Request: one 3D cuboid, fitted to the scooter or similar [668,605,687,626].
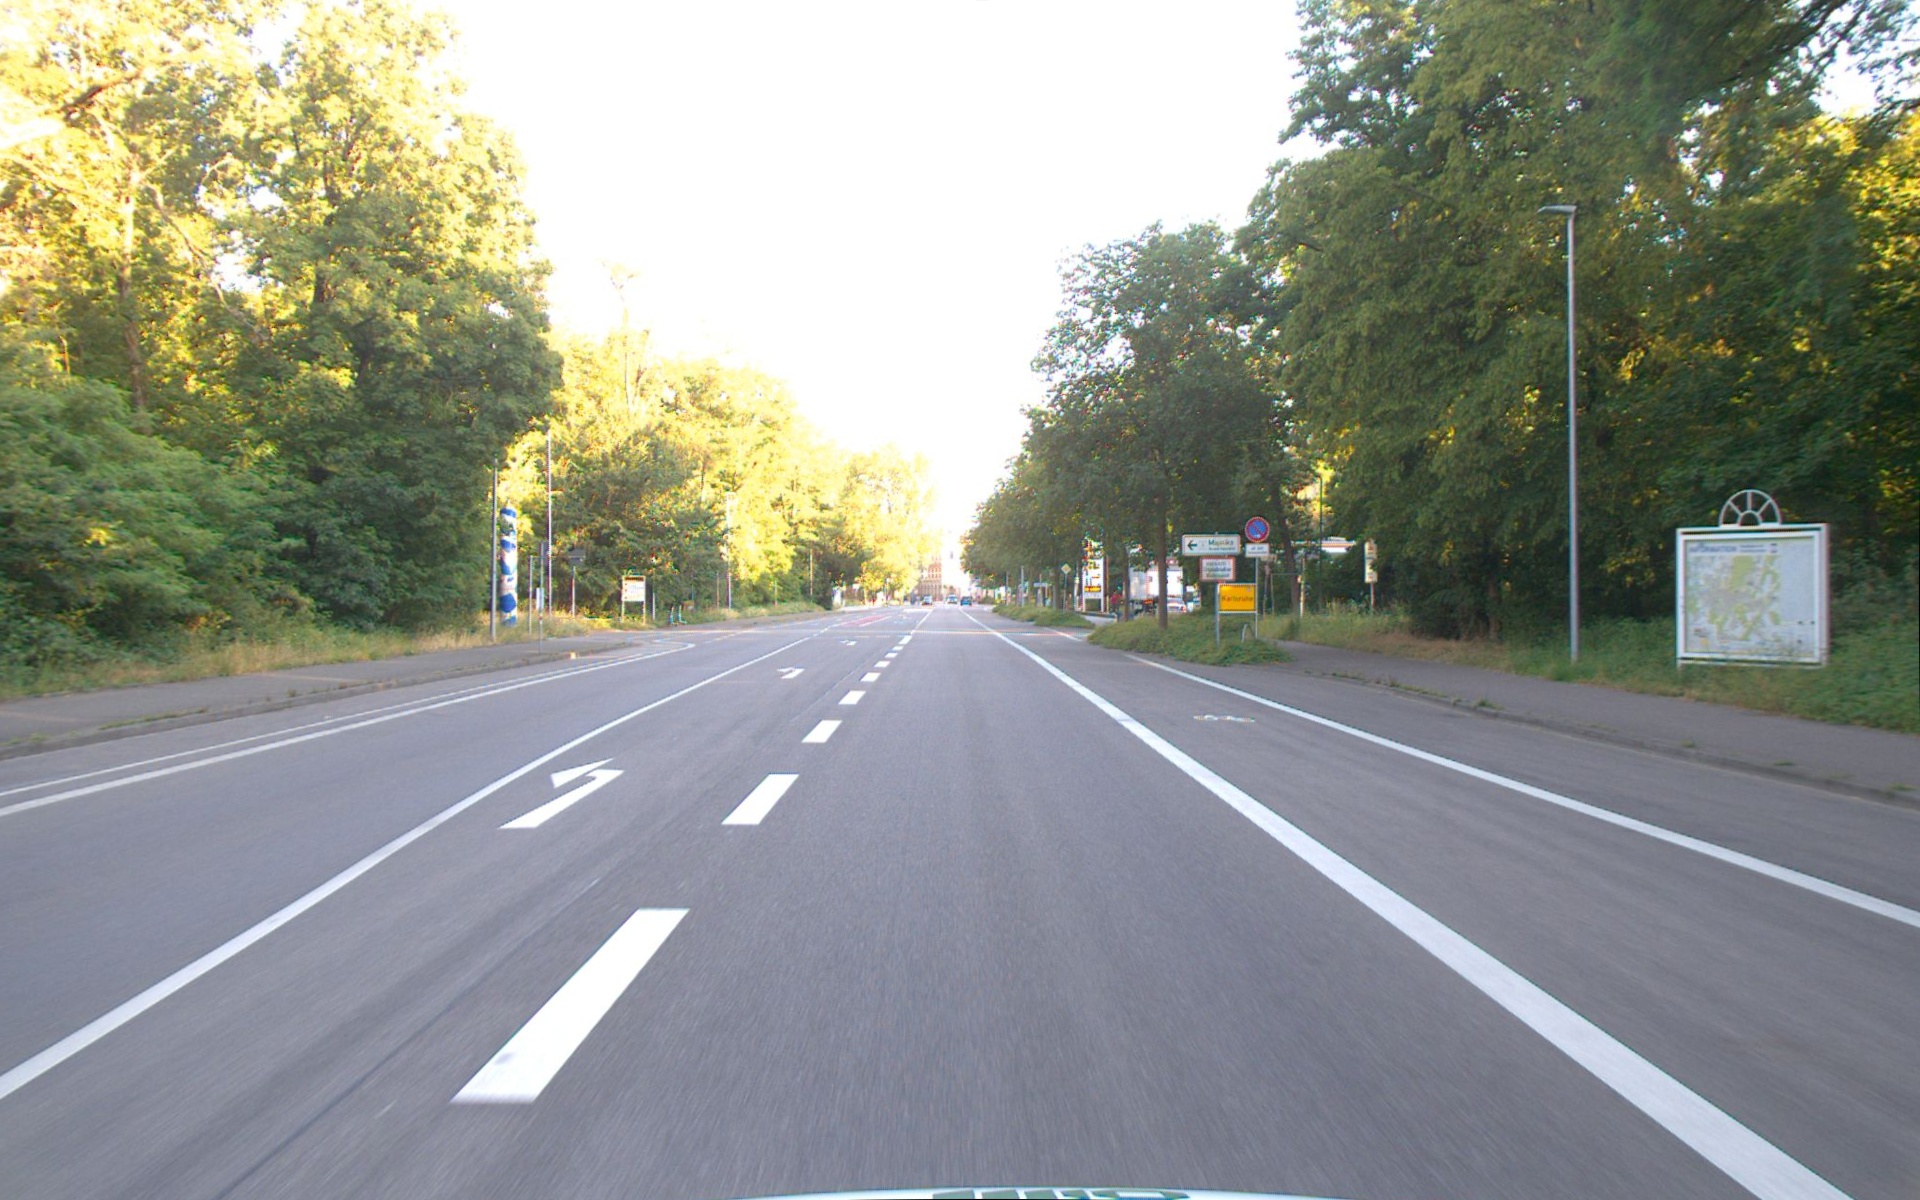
[{"bbox_3d":[-15.187,0.834,88.923,0.886,1.087,0.492,0,0,-26],"label":"scooter or similar"}]

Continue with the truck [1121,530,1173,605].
[{"bbox_3d":[14.377,-2.454,127.613,2.971,5.551,8.409,0,0,0],"label":"truck"}]

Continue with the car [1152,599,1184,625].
[{"bbox_3d":[13.543,0.790,107.928,1.733,1.611,4.821,1,0,3],"label":"car"}]

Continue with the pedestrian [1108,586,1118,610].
[{"bbox_3d":[12.084,-0.158,130.504,0.741,1.829,0.707,1,0,3],"label":"pedestrian"}]

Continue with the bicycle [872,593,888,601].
[{"bbox_3d":[-12.459,-0.454,258.138,2.410,1.216,0.757,0,0,9],"label":"bicycle"}]

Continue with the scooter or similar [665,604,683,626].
[{"bbox_3d":[-14.842,0.769,85.779,0.355,1.129,0.874,0,0,41],"label":"scooter or similar"}]

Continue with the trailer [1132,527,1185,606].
[{"bbox_3d":[14.373,-2.386,120.428,2.958,5.557,7.934,0,0,0],"label":"trailer"}]
